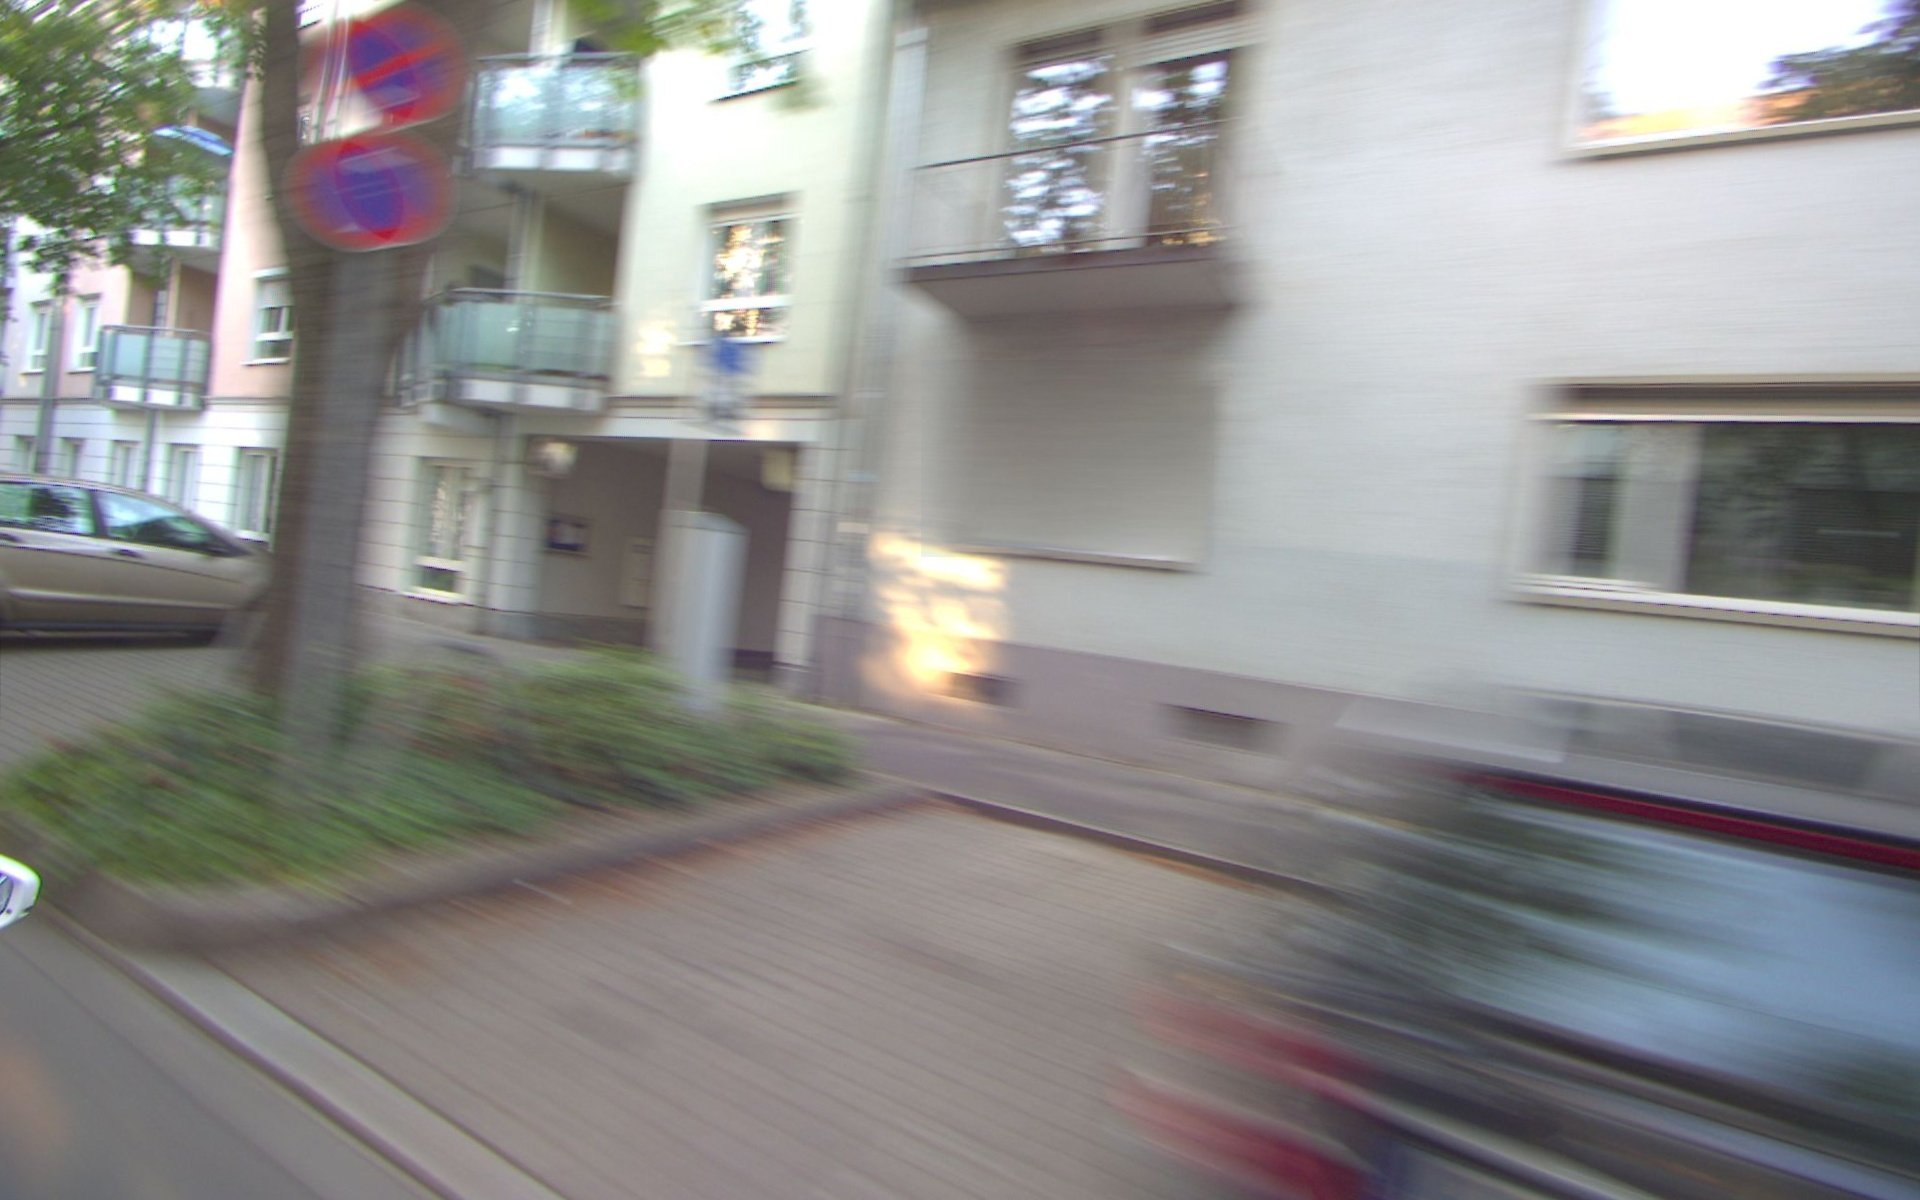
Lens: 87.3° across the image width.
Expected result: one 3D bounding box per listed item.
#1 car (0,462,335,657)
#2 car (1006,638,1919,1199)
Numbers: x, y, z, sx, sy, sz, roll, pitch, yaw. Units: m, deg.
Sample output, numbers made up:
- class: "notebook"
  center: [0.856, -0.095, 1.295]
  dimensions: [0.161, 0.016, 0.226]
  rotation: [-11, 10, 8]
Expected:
- class: "car"
  center: [-8.684, -0.414, 9.844]
  dimensions: [1.894, 1.689, 3.863]
  rotation: [7, 2, 31]
- class: "car"
  center: [2.053, 0.954, 2.912]
  dimensions: [1.704, 1.490, 4.353]
  rotation: [7, 2, 36]
